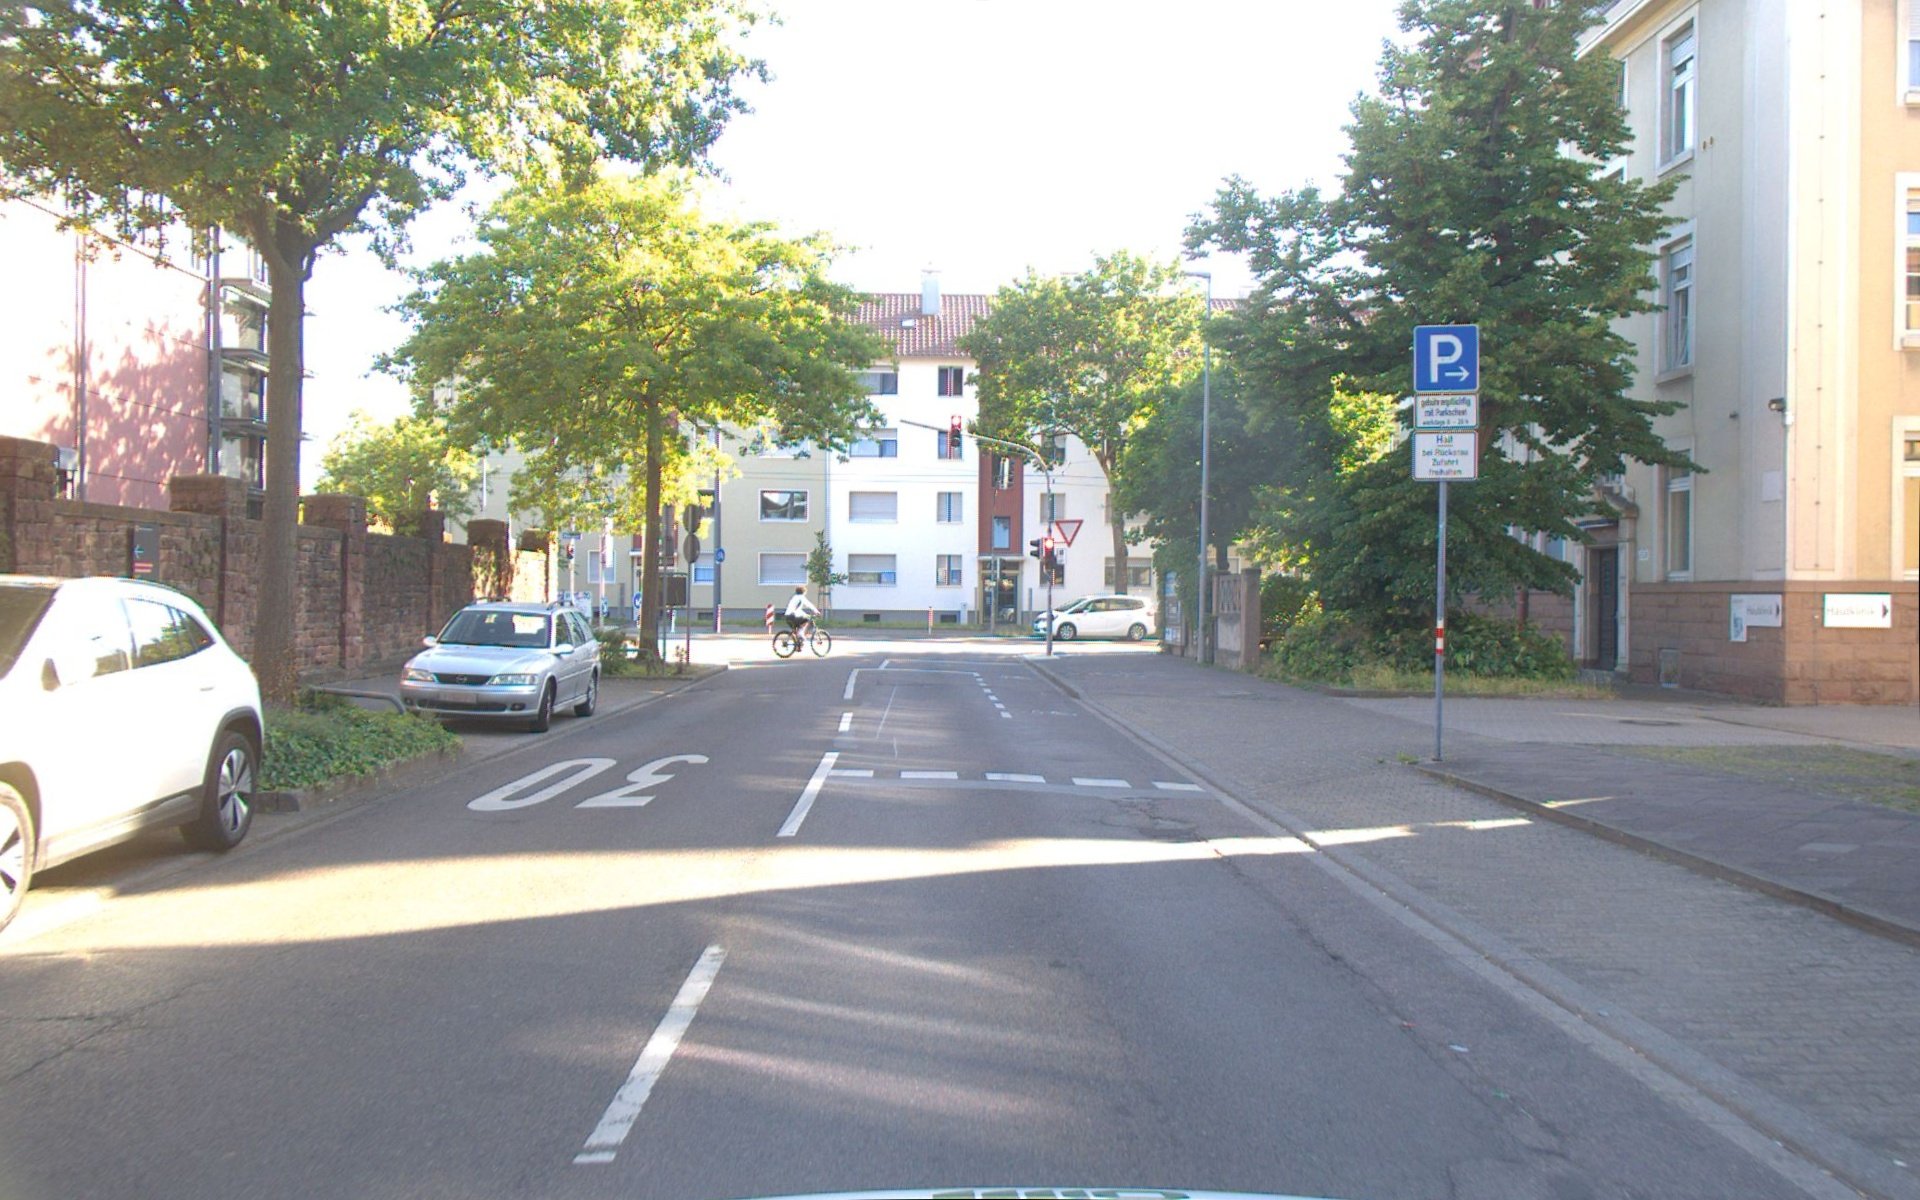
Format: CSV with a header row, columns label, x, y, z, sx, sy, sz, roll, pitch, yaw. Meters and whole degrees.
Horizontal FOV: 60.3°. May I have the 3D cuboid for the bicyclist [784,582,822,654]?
label,x,y,z,sx,sy,sz,roll,pitch,yaw
bicyclist,-3.965,0.446,41.752,0.778,1.788,0.606,1,0,-32

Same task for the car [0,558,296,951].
label,x,y,z,sx,sy,sz,roll,pitch,yaw
car,-5.088,0.657,8.593,1.686,1.713,4.348,0,0,-3

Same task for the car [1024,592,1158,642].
label,x,y,z,sx,sy,sz,roll,pitch,yaw
car,4.842,0.626,61.294,4.582,1.770,1.993,0,0,-14

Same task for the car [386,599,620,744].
label,x,y,z,sx,sy,sz,roll,pitch,yaw
car,-5.446,0.780,20.281,1.691,1.501,4.477,2,0,-2

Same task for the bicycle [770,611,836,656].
label,x,y,z,sx,sy,sz,roll,pitch,yaw
bicycle,-3.961,0.843,41.780,1.668,1.099,0.347,1,0,-33
